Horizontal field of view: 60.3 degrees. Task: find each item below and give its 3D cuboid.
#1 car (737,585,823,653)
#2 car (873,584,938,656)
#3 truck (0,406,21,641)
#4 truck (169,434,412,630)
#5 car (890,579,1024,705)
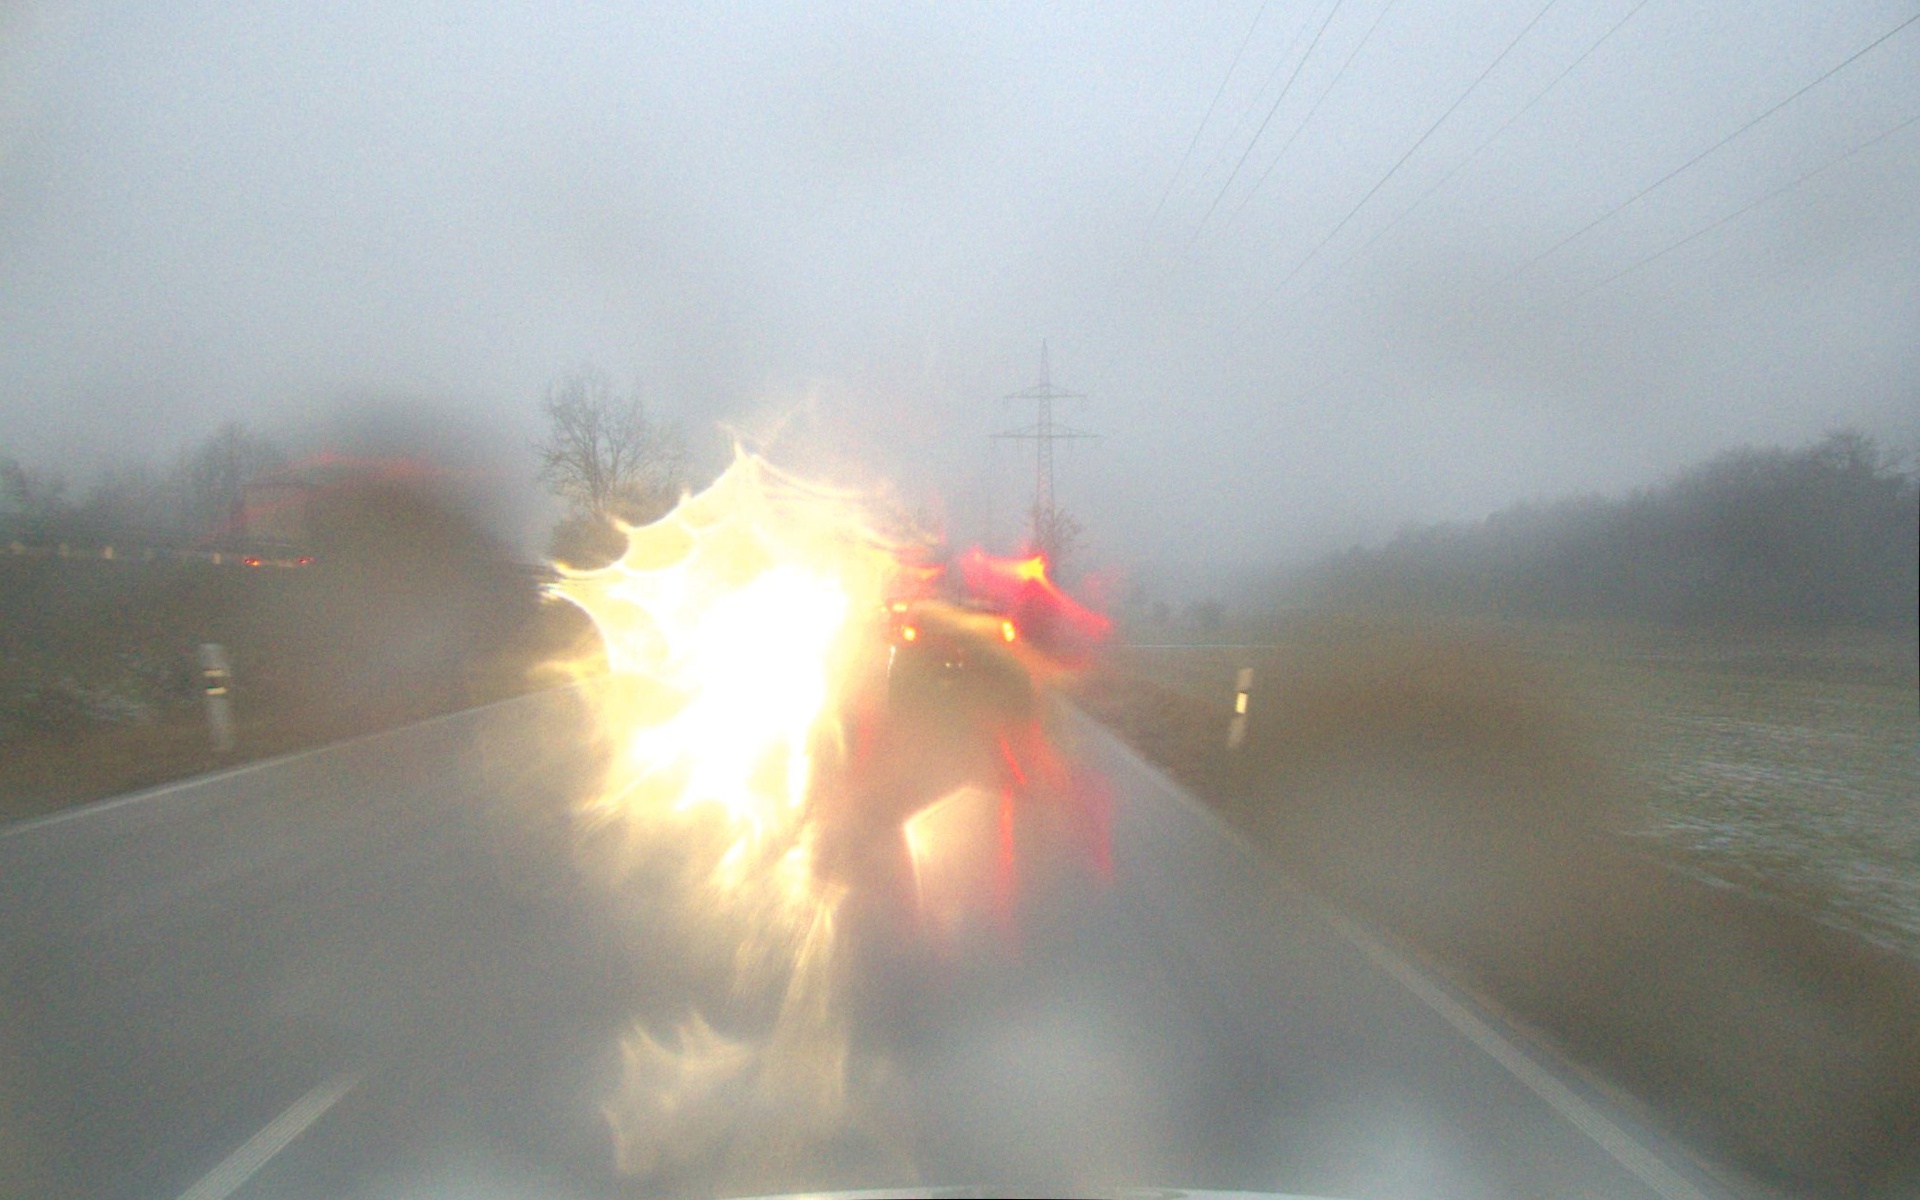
[{"bbox_3d":[-4.528,0.443,42.134,1.749,1.619,4.485,1,0,-1],"label":"car"},{"bbox_3d":[-1.670,0.585,49.800,1.815,2.049,3.997,1,0,-3],"label":"car"},{"bbox_3d":[-27.633,-2.117,38.069,3.689,6.398,15.729,1,0,-3],"label":"truck"},{"bbox_3d":[-33.820,-2.768,87.263,7.421,7.848,39.974,1,0,-16],"label":"truck"},{"bbox_3d":[-0.098,0.485,20.487,1.470,1.423,3.197,1,0,-3],"label":"car"}]
